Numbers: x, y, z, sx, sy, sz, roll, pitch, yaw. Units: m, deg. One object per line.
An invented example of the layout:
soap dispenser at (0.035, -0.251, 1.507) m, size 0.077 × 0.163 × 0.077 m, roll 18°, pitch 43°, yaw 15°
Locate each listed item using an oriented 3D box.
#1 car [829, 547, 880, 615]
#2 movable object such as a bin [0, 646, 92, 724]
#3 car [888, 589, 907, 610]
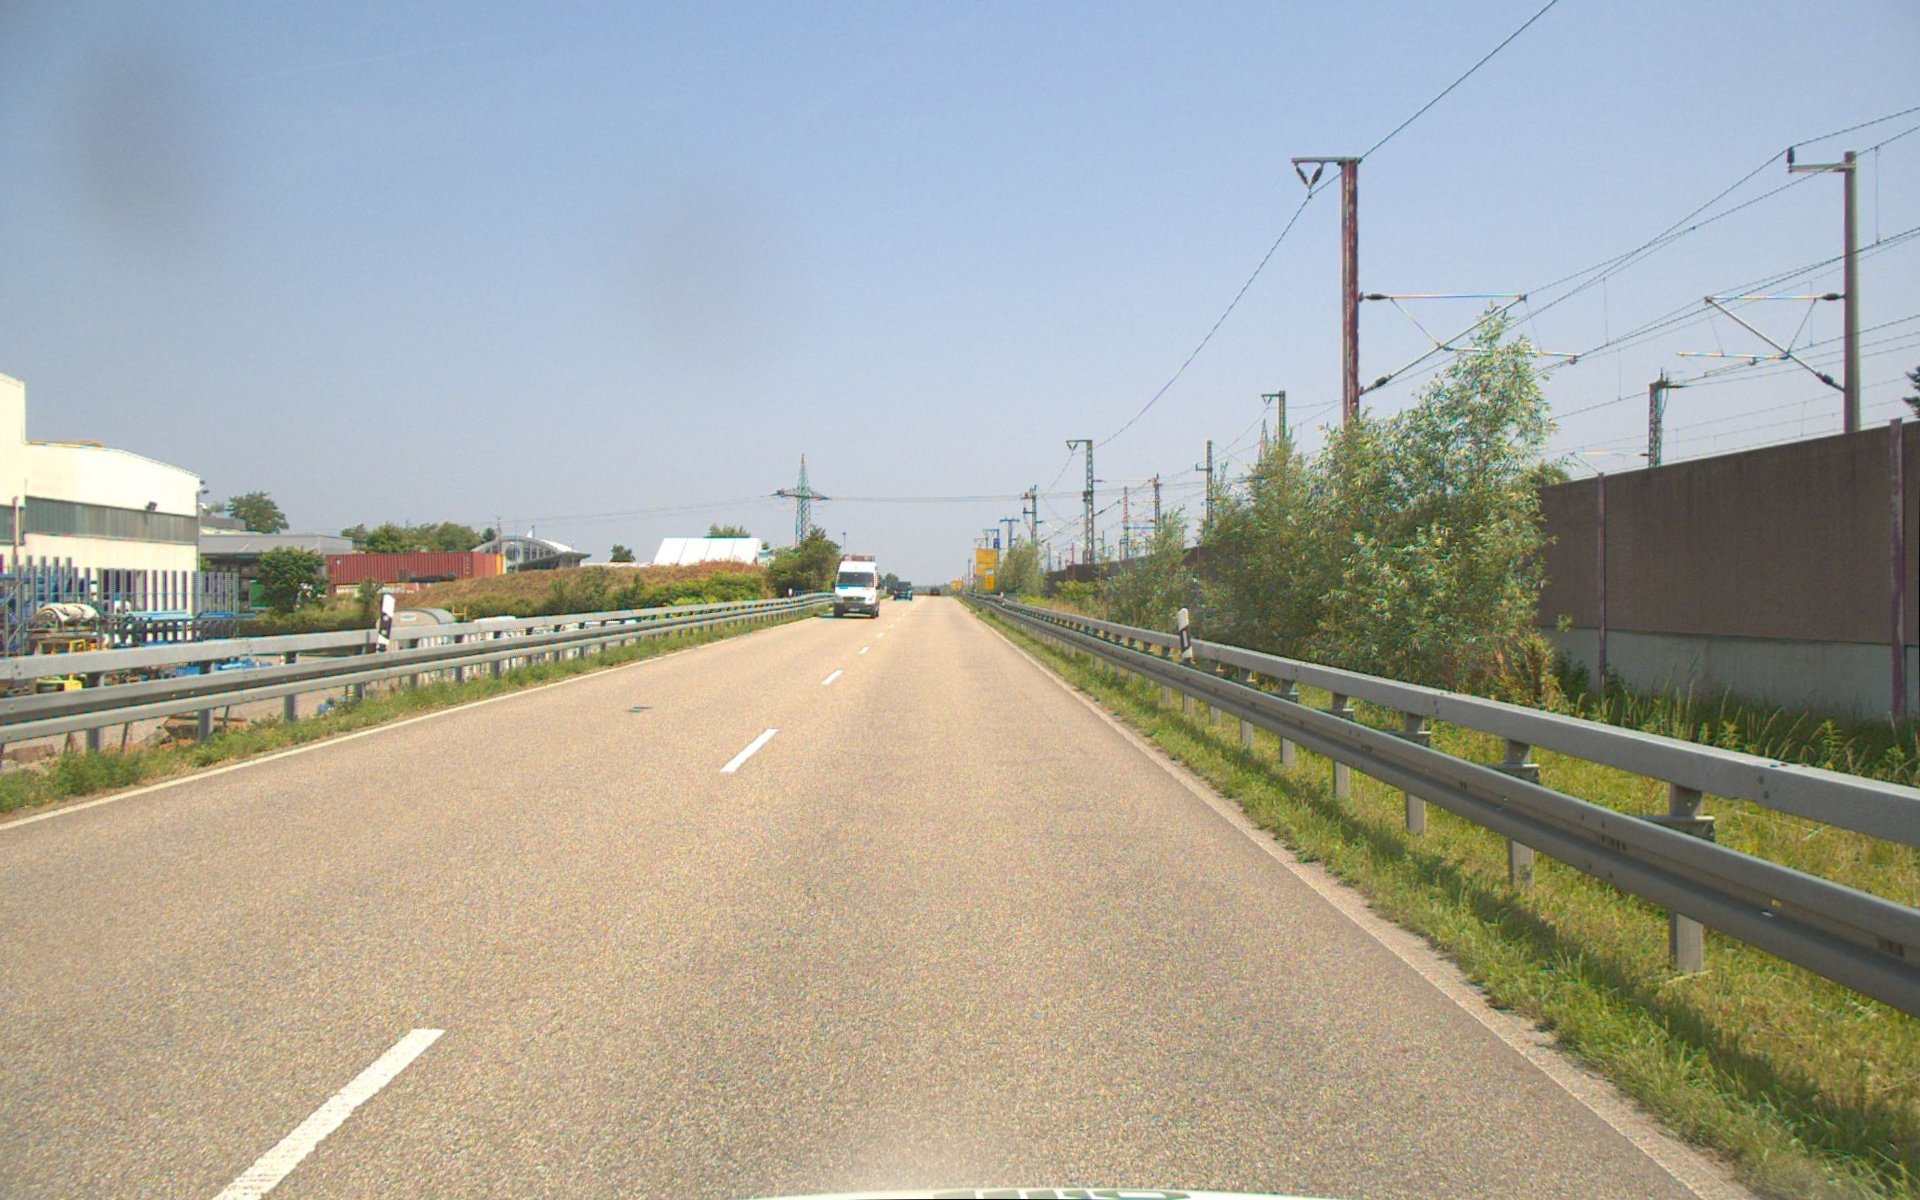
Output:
car at (-4.913, -0.844, 77.784) m, size 2.037 × 3.014 × 6.728 m, roll 2°, pitch 0°, yaw -1°
movable object such as a bin at (-26.651, 2.333, 46.215) m, size 3.790 × 2.049 × 1.849 m, roll 1°, pitch 0°, yaw -8°
car at (-6.303, -0.050, 167.896) m, size 1.855 × 2.049 × 5.368 m, roll 1°, pitch 0°, yaw -1°
